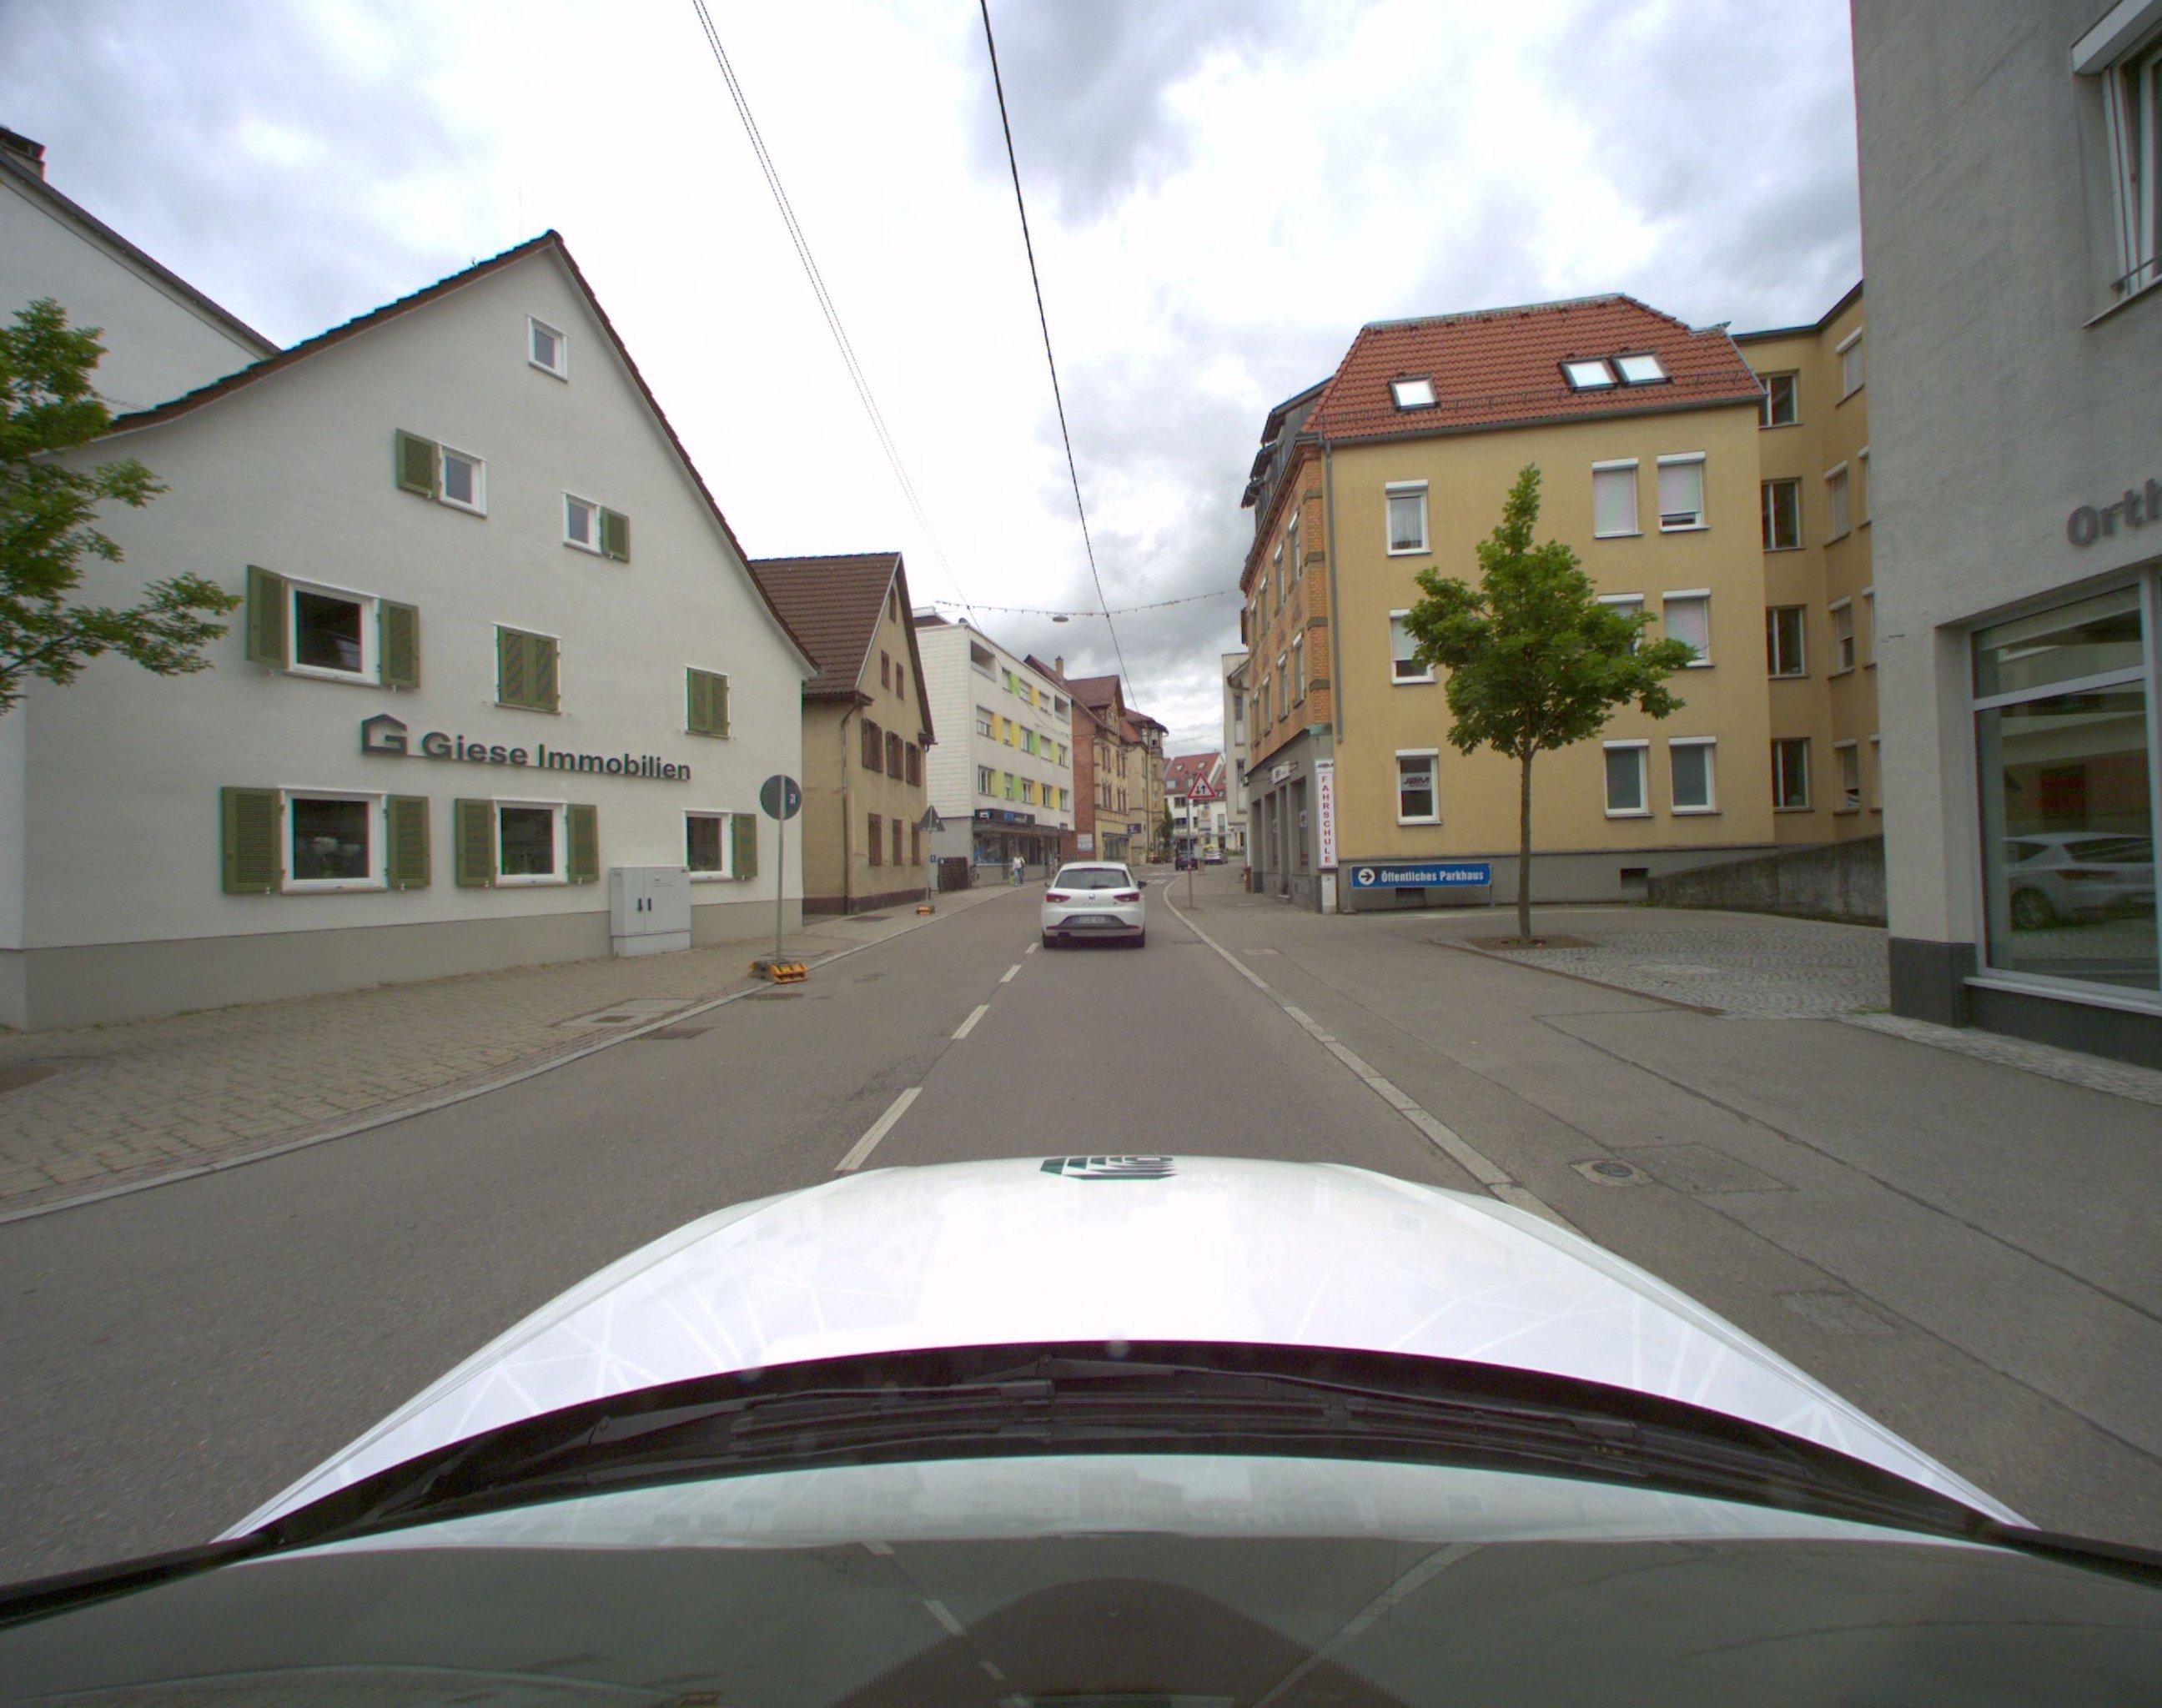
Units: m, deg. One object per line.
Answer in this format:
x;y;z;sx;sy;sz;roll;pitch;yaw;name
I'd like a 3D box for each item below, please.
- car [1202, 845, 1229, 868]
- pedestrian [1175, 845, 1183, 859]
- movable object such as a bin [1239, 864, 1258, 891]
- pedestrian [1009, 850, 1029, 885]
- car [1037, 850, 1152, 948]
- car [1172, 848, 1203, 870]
12.633;0.234;76.291;1.978;2.013;4.018;-2;0;17;car
10.588;-0.202;88.185;0.829;1.552;0.629;-2;0;9;pedestrian
6.005;0.836;29.219;0.616;0.921;0.583;-2;0;7;movable object such as a bin
-3.099;0.670;40.651;0.889;1.665;0.861;-2;0;0;pedestrian
0.350;0.714;14.846;1.803;1.480;3.875;-1;1;4;car
8.132;0.351;61.929;1.798;1.480;3.887;-2;1;16;car
